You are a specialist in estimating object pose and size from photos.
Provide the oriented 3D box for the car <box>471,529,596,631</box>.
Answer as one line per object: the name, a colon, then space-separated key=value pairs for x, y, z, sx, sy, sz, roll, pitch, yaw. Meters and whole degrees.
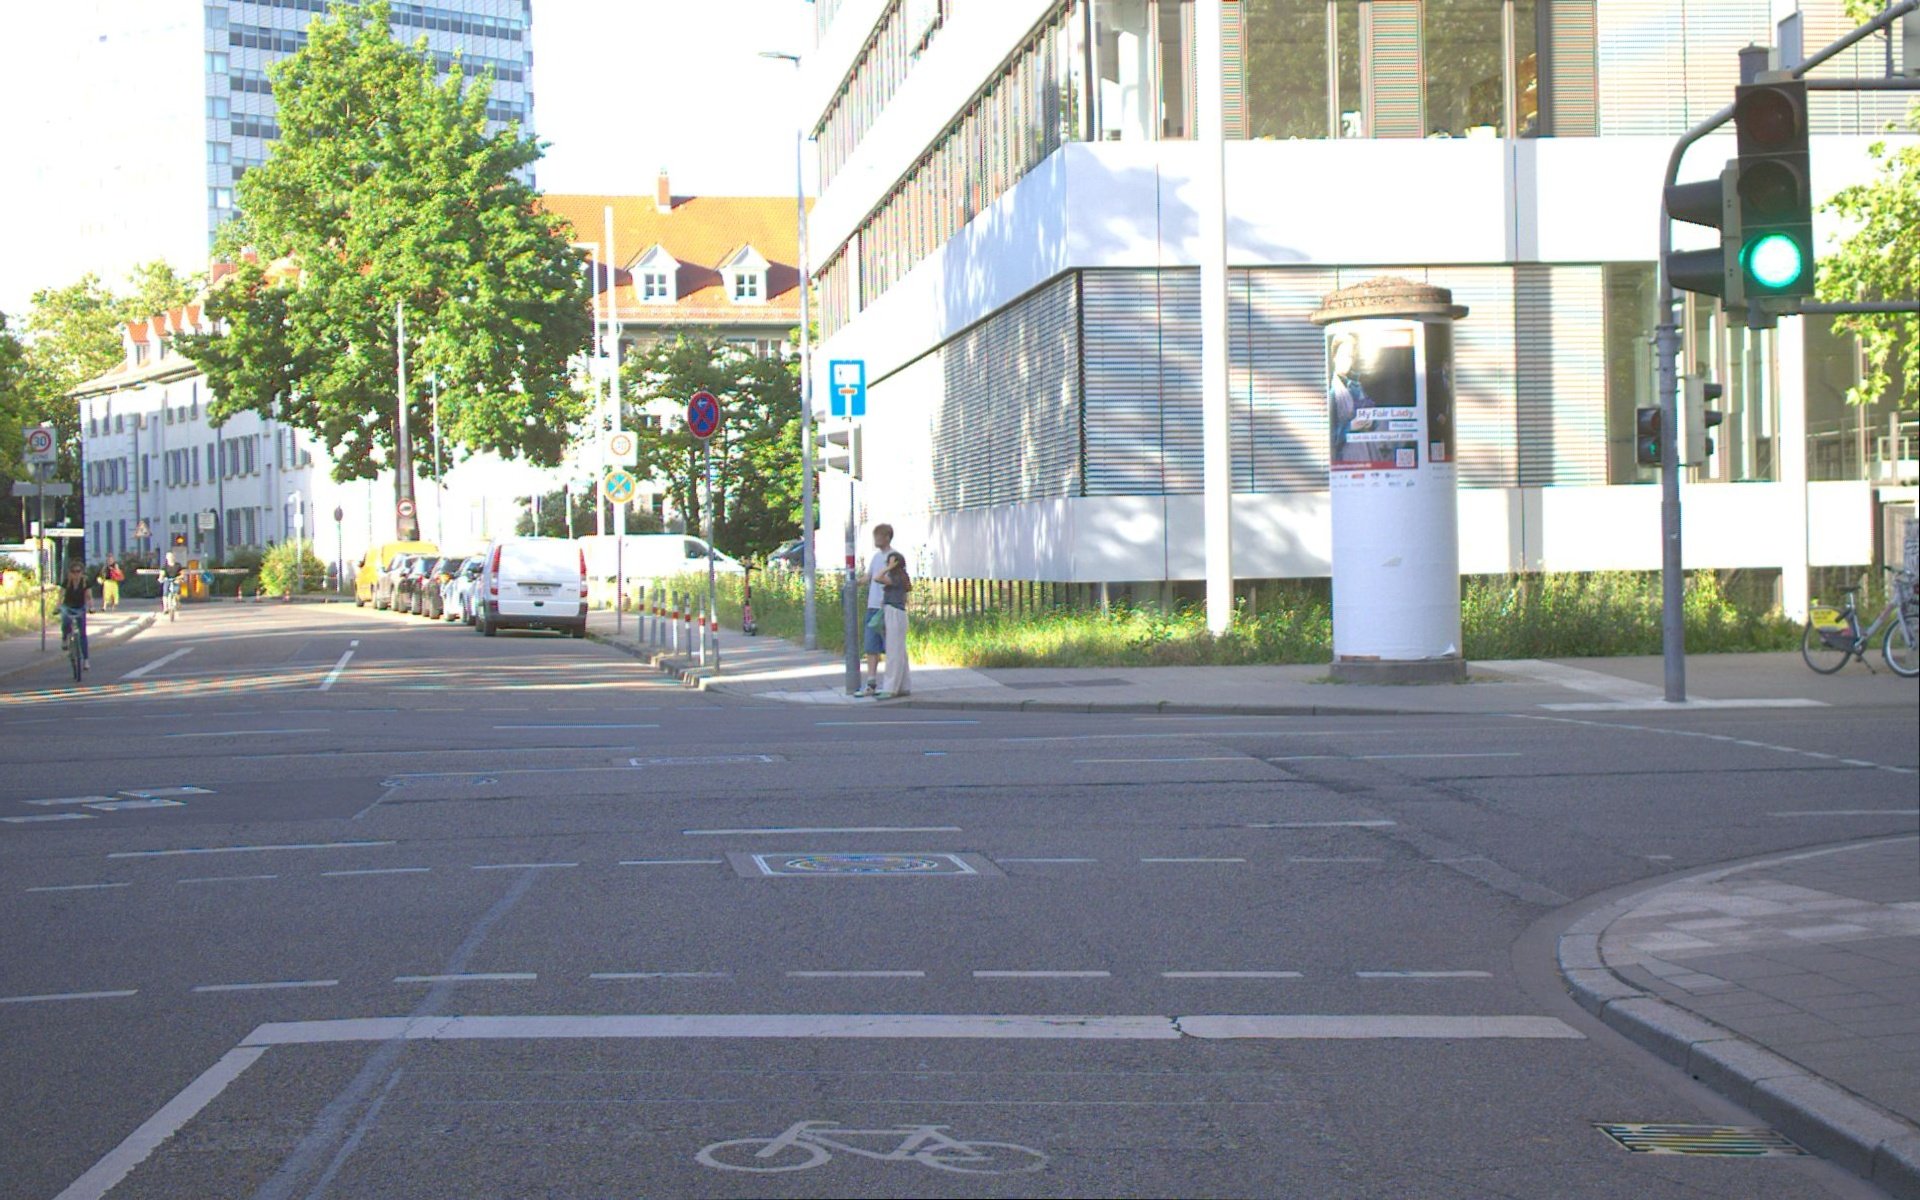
car: x=-8.035 y=-0.407 z=64.468 sx=2.084 sy=1.789 sz=4.416 roll=-1 pitch=2 yaw=-10

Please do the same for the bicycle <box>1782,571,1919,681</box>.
bicycle: x=9.370 y=0.256 z=35.724 sx=0.507 sy=1.046 sz=1.687 roll=-3 pitch=4 yaw=-35

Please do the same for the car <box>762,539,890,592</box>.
car: x=-4.061 y=-1.038 z=103.959 sx=3.554 sy=1.541 sz=1.559 roll=-1 pitch=1 yaw=-19

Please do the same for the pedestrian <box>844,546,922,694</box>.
pedestrian: x=-0.826 y=0.211 z=36.911 sx=0.559 sy=1.535 sz=0.677 roll=-5 pitch=2 yaw=-18

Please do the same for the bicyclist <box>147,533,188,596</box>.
bicyclist: x=-19.594 y=-0.880 z=84.977 sx=0.865 sy=1.510 sz=1.019 roll=-4 pitch=1 yaw=-11

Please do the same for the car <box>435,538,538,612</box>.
car: x=-10.780 y=-0.588 z=78.044 sx=1.888 sy=1.550 sz=4.417 roll=-1 pitch=2 yaw=-13

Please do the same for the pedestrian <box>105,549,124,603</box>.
pedestrian: x=-24.891 y=-0.706 z=101.229 sx=0.433 sy=1.602 sz=0.493 roll=-1 pitch=1 yaw=-26

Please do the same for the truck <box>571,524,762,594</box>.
truck: x=-8.779 y=-1.227 z=102.782 sx=5.336 sy=2.007 sz=2.001 roll=-1 pitch=1 yaw=-19

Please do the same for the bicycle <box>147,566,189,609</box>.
bicycle: x=-19.566 y=-0.304 z=84.969 sx=0.865 sy=1.006 sz=2.415 roll=-4 pitch=1 yaw=-11

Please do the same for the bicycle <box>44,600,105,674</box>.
bicycle: x=-12.292 y=0.506 z=47.744 sx=0.615 sy=0.966 sz=1.842 roll=-1 pitch=1 yaw=-9

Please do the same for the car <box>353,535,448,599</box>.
car: x=-15.526 y=-0.932 z=95.238 sx=1.888 sy=1.650 sz=4.416 roll=-1 pitch=2 yaw=-19

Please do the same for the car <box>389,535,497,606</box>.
car: x=-12.849 y=-0.756 z=85.297 sx=1.888 sy=1.650 sz=4.416 roll=-1 pitch=2 yaw=-19

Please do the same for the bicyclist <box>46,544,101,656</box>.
bicyclist: x=-12.304 y=-0.007 z=47.750 sx=0.615 sy=1.527 sz=0.903 roll=-1 pitch=1 yaw=-9

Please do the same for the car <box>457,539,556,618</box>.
car: x=-9.616 y=-0.478 z=72.671 sx=1.888 sy=1.550 sz=4.416 roll=-1 pitch=2 yaw=-10

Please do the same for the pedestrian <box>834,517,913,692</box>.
pedestrian: x=-0.941 y=0.044 z=37.515 sx=0.560 sy=1.844 sz=0.677 roll=-4 pitch=2 yaw=16

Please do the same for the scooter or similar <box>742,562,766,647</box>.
scooter or similar: x=-3.488 y=0.067 z=58.284 sx=0.330 sy=1.419 sz=1.335 roll=1 pitch=0 yaw=-6
